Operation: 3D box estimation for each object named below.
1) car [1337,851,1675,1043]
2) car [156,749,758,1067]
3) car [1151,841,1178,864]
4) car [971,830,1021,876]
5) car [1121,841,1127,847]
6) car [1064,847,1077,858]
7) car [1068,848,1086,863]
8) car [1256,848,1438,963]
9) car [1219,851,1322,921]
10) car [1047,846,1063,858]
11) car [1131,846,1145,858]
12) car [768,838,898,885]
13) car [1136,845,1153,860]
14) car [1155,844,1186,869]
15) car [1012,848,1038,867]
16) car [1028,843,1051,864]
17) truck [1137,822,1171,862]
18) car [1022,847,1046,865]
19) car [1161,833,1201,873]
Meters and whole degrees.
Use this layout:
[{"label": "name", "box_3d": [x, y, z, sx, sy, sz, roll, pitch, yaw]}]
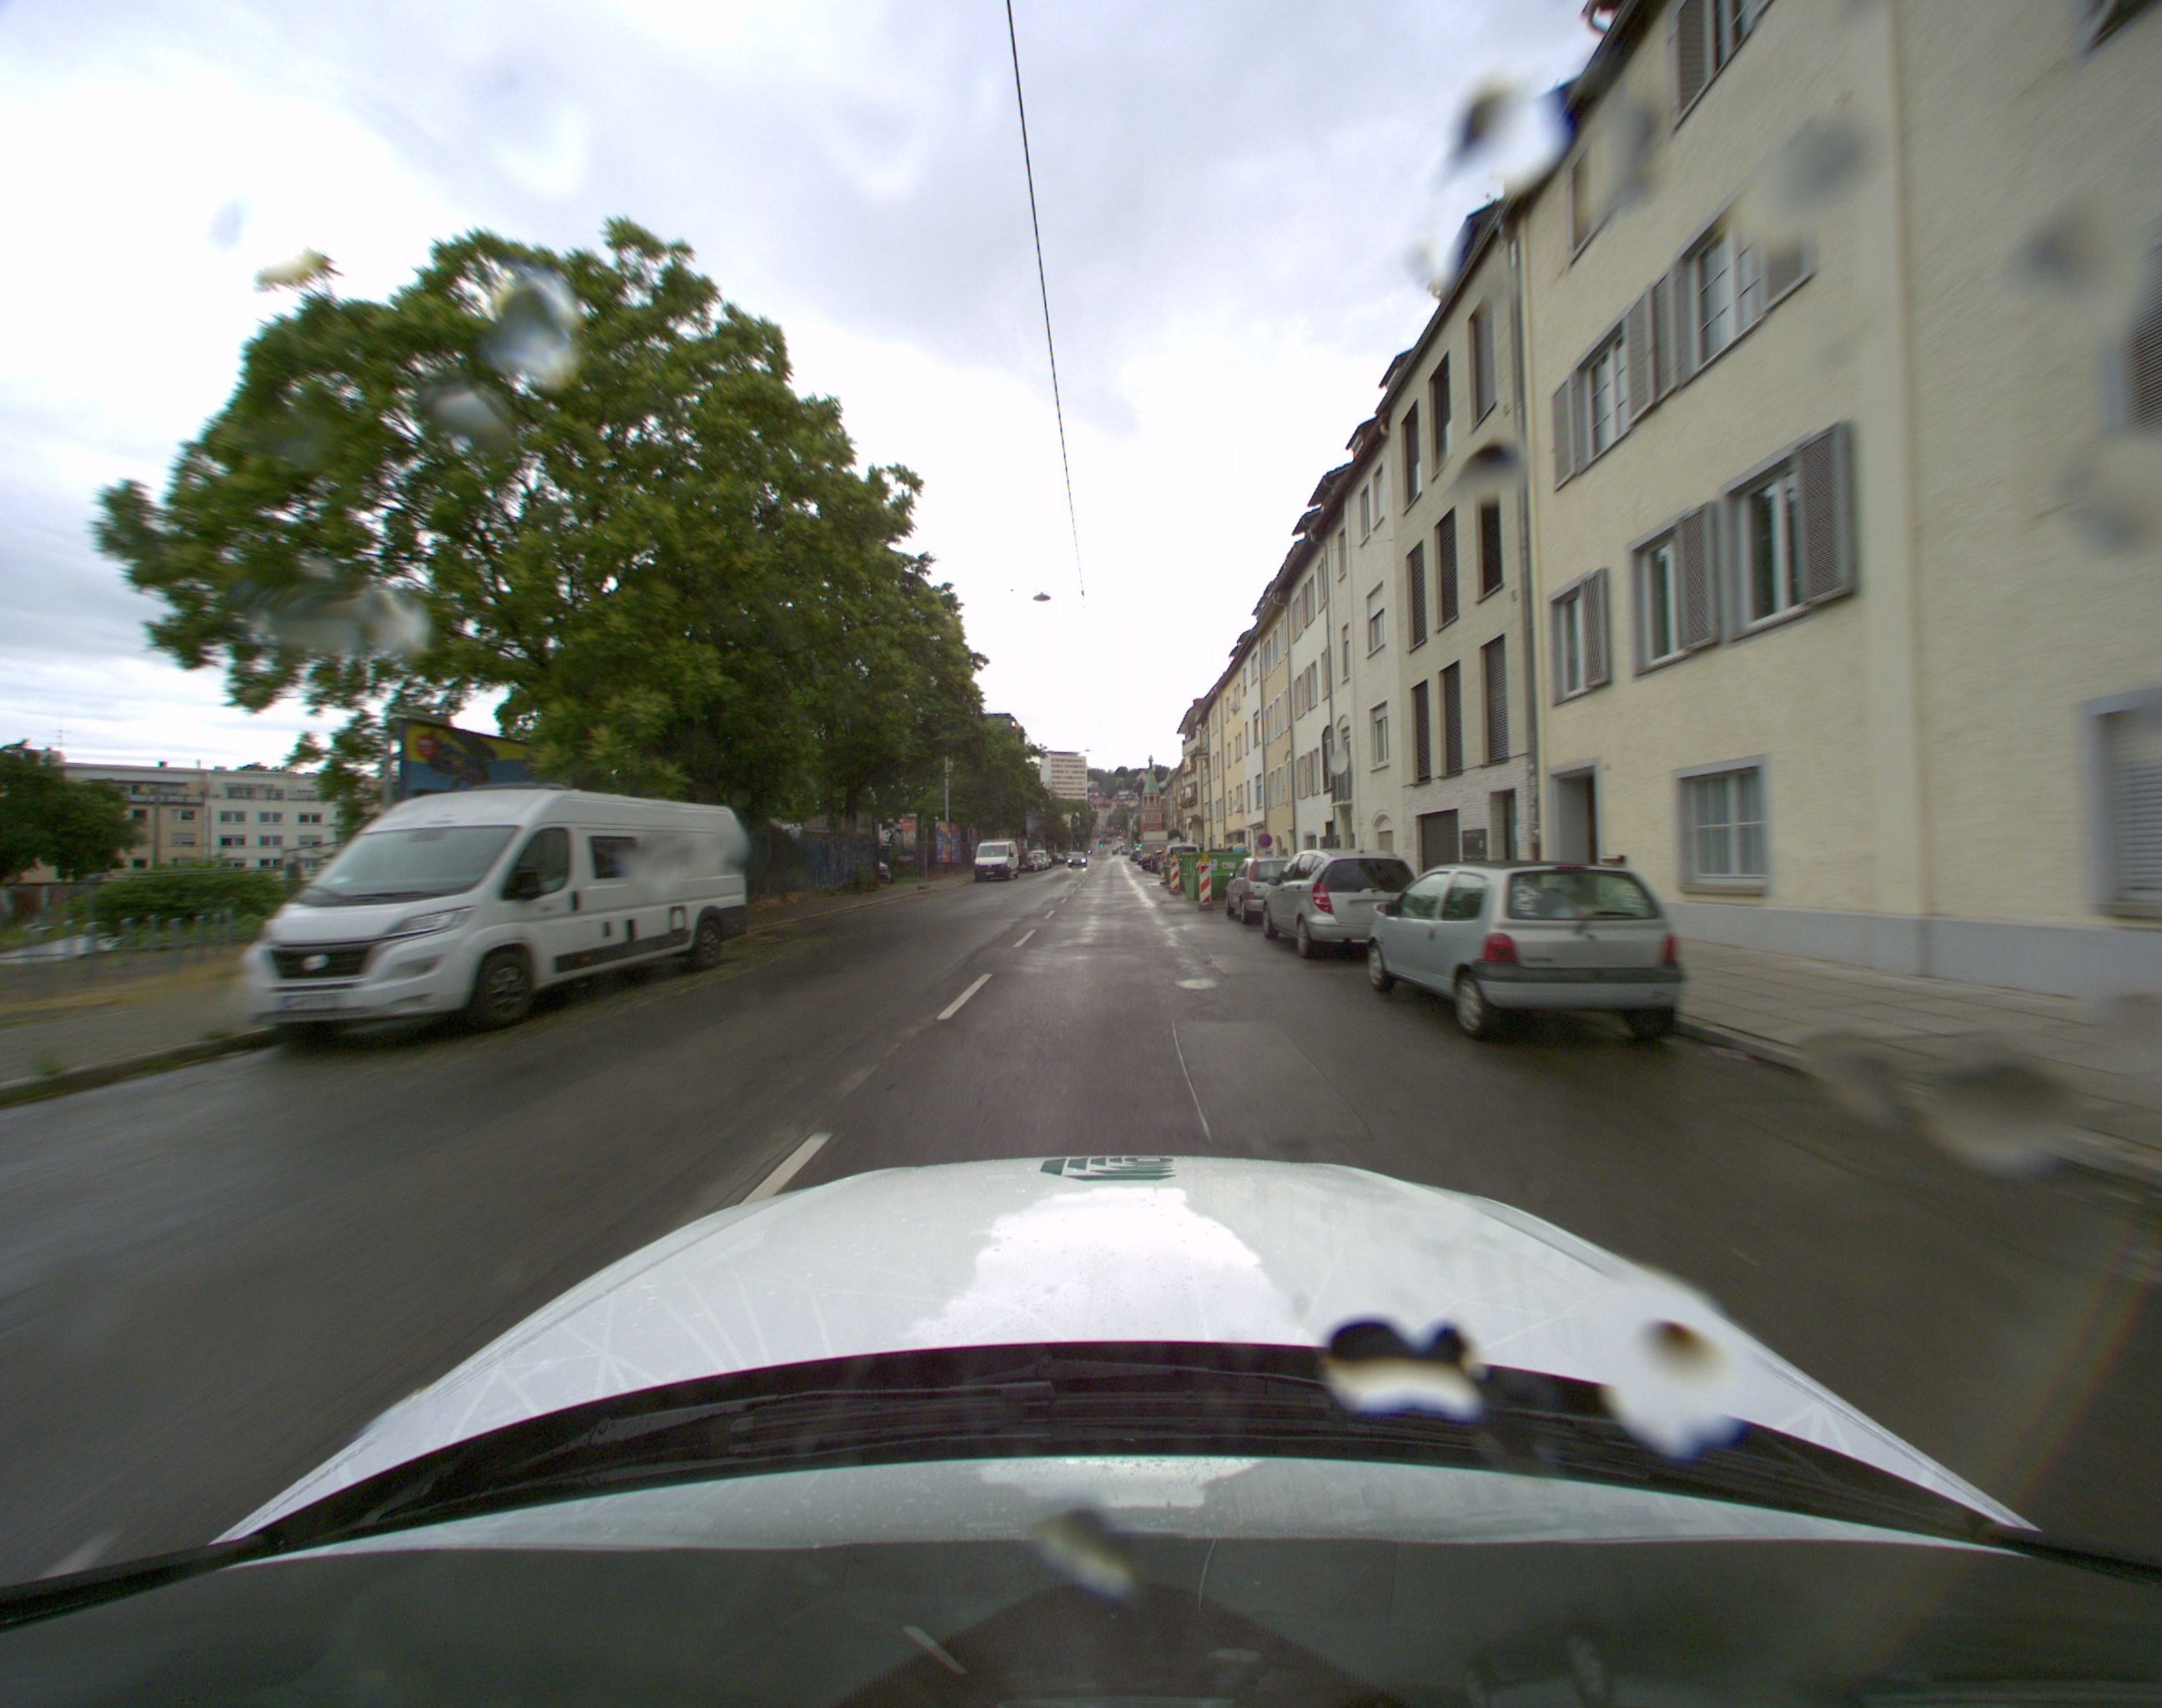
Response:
[{"label": "car", "box_3d": [3.909, 0.716, 8.239, 1.553, 1.453, 3.761, 0, 1, 2]}, {"label": "car", "box_3d": [-6.572, 0.417, 10.157, 2.222, 2.578, 6.540, -3, 1, 1]}, {"label": "car", "box_3d": [5.980, -0.102, 58.756, 1.657, 1.573, 4.100, -1, 1, 2]}, {"label": "car", "box_3d": [-5.033, -0.084, 49.019, 2.003, 2.487, 5.988, -2, 1, 3]}, {"label": "car", "box_3d": [13.181, -3.007, 249.199, 1.723, 1.653, 4.006, -2, 1, 5]}, {"label": "car", "box_3d": [-1.488, -0.226, 120.856, 1.703, 1.450, 4.295, -2, 0, 1]}, {"label": "car", "box_3d": [-0.381, 0.118, 82.342, 1.799, 1.415, 4.384, -1, 0, 0]}, {"label": "car", "box_3d": [4.042, 0.685, 13.067, 1.710, 1.524, 4.002, 0, 1, 1]}, {"label": "car", "box_3d": [4.231, 0.652, 18.704, 1.620, 1.411, 3.845, 0, 1, 2]}, {"label": "car", "box_3d": [-3.300, -0.205, 105.093, 1.797, 1.450, 4.657, -2, 0, 0]}, {"label": "car", "box_3d": [8.006, -0.265, 114.515, 1.811, 1.652, 4.078, 0, 0, 2]}, {"label": "car", "box_3d": [-11.888, 0.339, 39.308, 5.482, 2.009, 2.146, -2, 0, -1]}, {"label": "car", "box_3d": [6.901, -0.154, 88.939, 1.657, 1.502, 3.922, -1, 0, 1]}, {"label": "car", "box_3d": [5.755, 0.112, 52.703, 1.657, 1.500, 4.100, -1, 1, 2]}, {"label": "car", "box_3d": [-4.382, 0.256, 64.423, 1.676, 1.398, 3.911, -2, 0, 1]}, {"label": "car", "box_3d": [-3.814, -0.016, 75.767, 1.717, 1.800, 4.345, -2, 0, 1]}, {"label": "truck", "box_3d": [6.109, -0.948, 68.837, 2.459, 3.172, 7.041, -1, 0, 3]}, {"label": "car", "box_3d": [-4.061, 0.184, 71.054, 1.676, 1.462, 4.278, -2, 0, 1]}, {"label": "car", "box_3d": [5.177, -0.066, 42.466, 1.809, 1.924, 4.243, -1, 1, 4]}]
